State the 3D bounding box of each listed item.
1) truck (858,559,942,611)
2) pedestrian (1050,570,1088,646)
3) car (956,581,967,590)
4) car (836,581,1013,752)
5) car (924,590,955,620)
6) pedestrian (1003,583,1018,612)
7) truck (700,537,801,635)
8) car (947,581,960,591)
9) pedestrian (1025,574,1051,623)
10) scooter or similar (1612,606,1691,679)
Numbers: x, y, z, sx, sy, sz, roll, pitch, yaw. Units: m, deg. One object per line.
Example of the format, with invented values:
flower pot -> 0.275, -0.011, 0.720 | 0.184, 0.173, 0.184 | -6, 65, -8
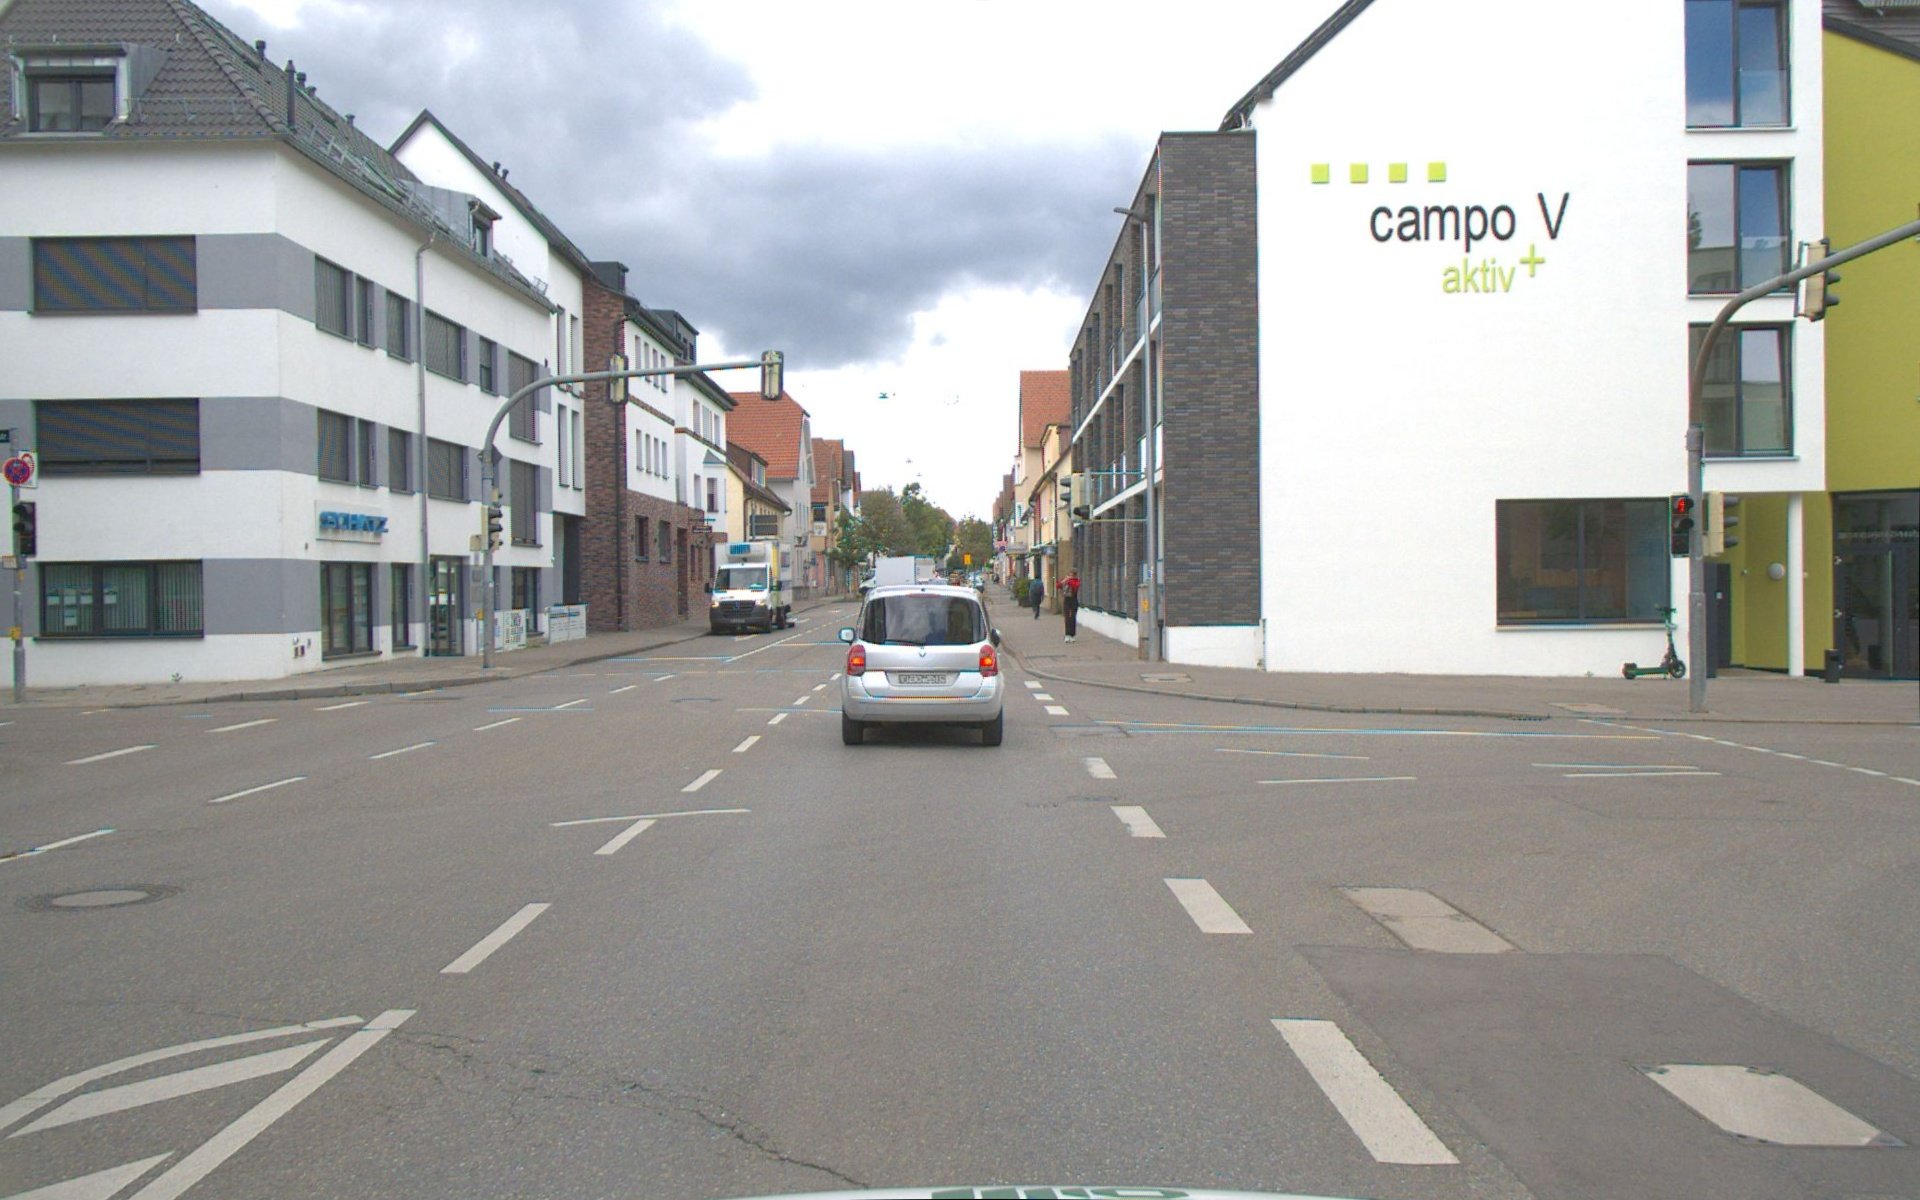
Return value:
truck -> -4.652, -1.139, 127.901 | 6.730, 3.925, 2.587 | 0, 0, 44
pedestrian -> 2.689, 0.188, 40.815 | 0.791, 1.818, 0.861 | -3, 0, 0
car -> 0.211, -2.298, 260.955 | 1.775, 1.378, 4.000 | -1, 0, 0
car -> -0.360, 0.628, 17.960 | 1.672, 1.606, 3.999 | 2, 0, -1
car -> -1.176, 0.275, 94.857 | 1.672, 1.606, 3.999 | 2, 0, -1
pedestrian -> 3.241, -0.184, 107.073 | 0.871, 1.818, 0.785 | -3, 0, 0
truck -> -7.024, -0.471, 56.542 | 2.385, 3.005, 8.363 | -2, 0, -1
car -> -0.941, -1.982, 229.323 | 1.775, 1.378, 4.000 | -1, 0, 0
pedestrian -> 2.976, -0.056, 63.389 | 0.871, 1.818, 0.785 | -3, 0, 0
scooter or similar -> 12.327, 0.757, 29.501 | 1.205, 1.257, 0.406 | 2, 0, 0
